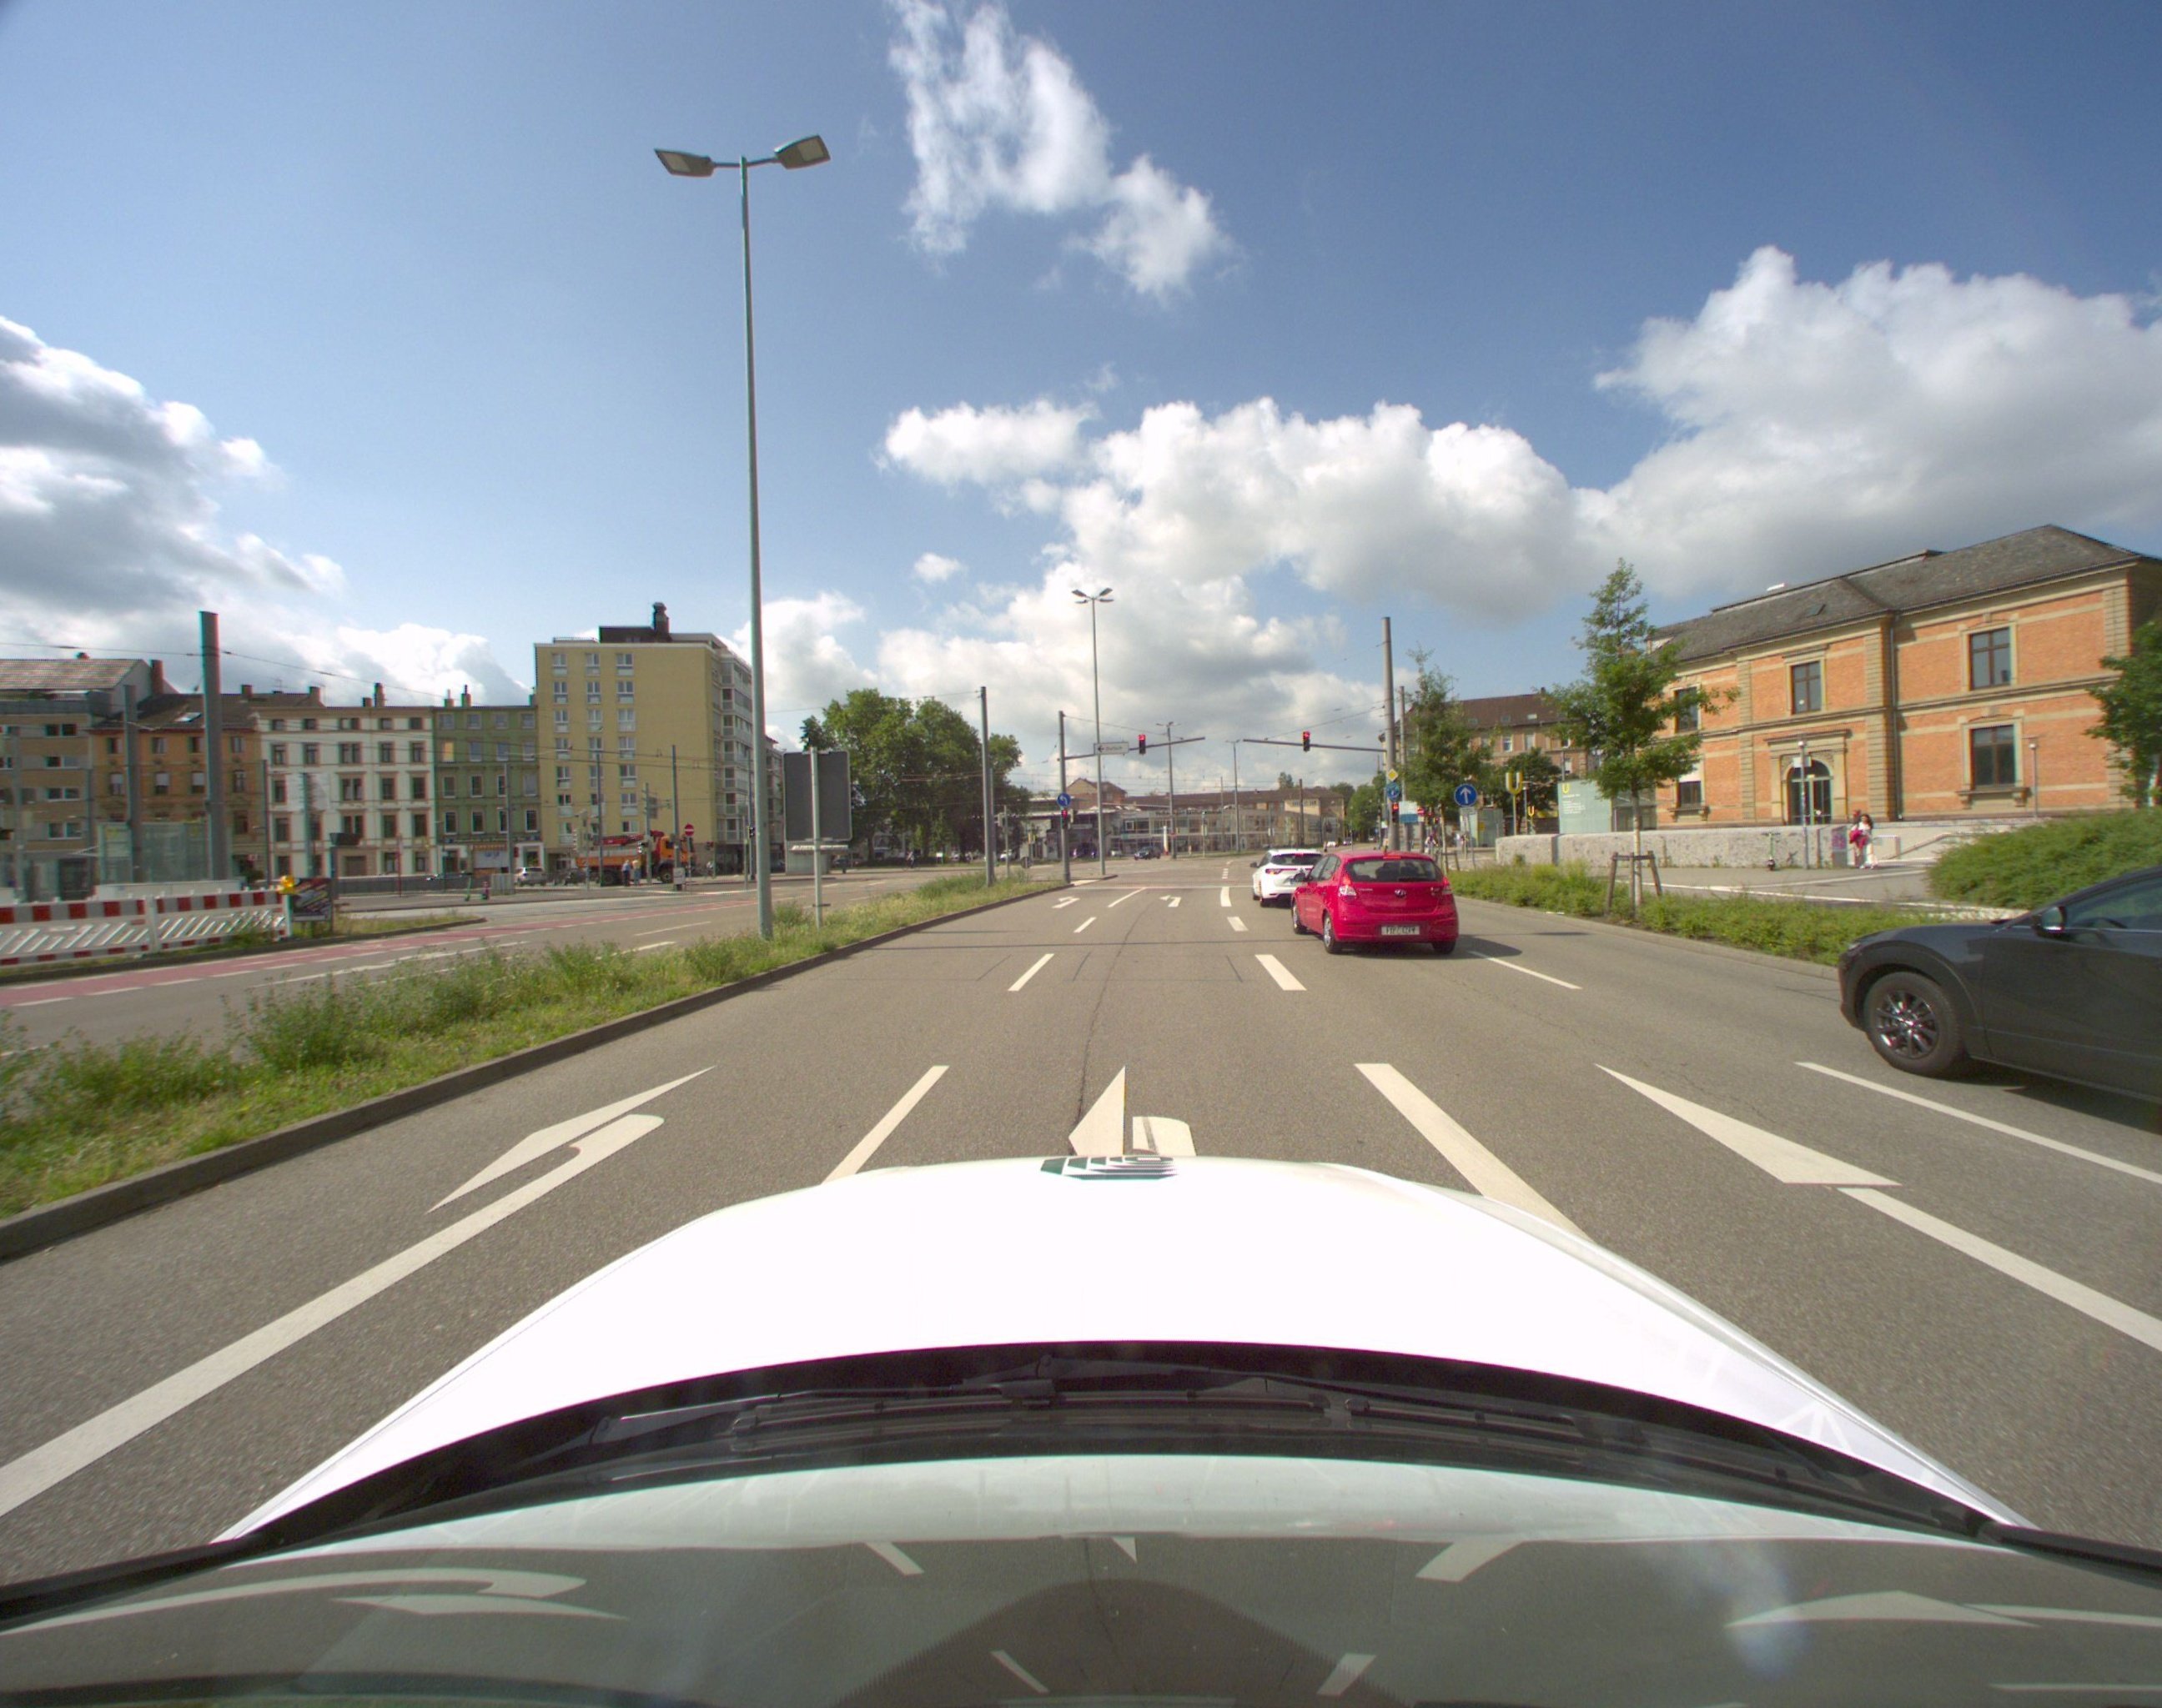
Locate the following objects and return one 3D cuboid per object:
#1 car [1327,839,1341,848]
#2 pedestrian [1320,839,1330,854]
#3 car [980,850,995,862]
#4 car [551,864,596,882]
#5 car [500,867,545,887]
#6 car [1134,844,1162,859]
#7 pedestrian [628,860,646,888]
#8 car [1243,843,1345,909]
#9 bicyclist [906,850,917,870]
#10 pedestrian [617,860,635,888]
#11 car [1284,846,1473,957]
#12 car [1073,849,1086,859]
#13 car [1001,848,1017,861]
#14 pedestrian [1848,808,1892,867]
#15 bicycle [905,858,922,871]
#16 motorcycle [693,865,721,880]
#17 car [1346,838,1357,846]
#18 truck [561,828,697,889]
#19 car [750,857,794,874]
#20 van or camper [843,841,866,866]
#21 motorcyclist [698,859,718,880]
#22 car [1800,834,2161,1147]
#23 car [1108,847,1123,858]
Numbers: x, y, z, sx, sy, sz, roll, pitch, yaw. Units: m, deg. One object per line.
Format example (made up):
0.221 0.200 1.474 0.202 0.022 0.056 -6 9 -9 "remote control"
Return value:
47.578 -1.985 152.889 1.975 1.442 4.023 -2 0 25 "car"
25.193 -0.761 84.110 0.678 1.535 0.667 -2 0 -32 "pedestrian"
-15.233 0.340 132.411 1.791 1.769 4.002 -2 0 2 "car"
-42.835 1.619 68.691 3.953 1.436 1.883 -2 0 37 "car"
-46.642 1.933 68.021 3.629 1.500 1.708 -2 0 31 "car"
7.544 -0.282 91.453 1.976 1.530 4.021 -2 0 21 "car"
-30.084 1.367 55.210 0.647 1.868 0.783 -2 0 8 "pedestrian"
5.425 0.499 21.268 1.839 1.472 4.341 -2 0 5 "car"
-16.011 0.584 76.959 0.886 1.871 0.760 -2 0 -13 "bicyclist"
-30.866 1.379 55.254 0.695 1.860 0.821 -2 0 7 "pedestrian"
4.448 0.616 12.834 1.807 1.439 4.073 -1 0 5 "car"
-0.199 -0.039 129.268 1.987 1.552 4.079 -2 0 1 "car"
-11.690 0.099 131.981 1.986 2.013 4.002 -2 0 2 "car"
23.304 -0.486 24.046 0.885 1.686 0.757 -2 0 -36 "pedestrian"
-15.831 0.978 77.011 1.467 1.117 0.584 -2 0 -15 "bicycle"
-31.677 1.578 69.043 0.776 1.115 2.443 -2 0 12 "motorcycle"
57.560 -2.484 173.440 1.976 1.574 4.022 -2 0 22 "car"
-31.738 0.281 57.454 7.925 3.856 2.190 -2 0 -14 "truck"
-32.328 1.176 85.171 3.991 1.662 1.991 -2 0 -13 "car"
-27.835 -0.065 100.386 2.586 2.908 6.068 -2 0 -15 "van or camper"
-31.664 1.304 69.139 0.881 1.781 1.246 -2 0 12 "motorcyclist"
6.100 0.642 3.954 1.797 1.508 4.212 -1 0 6 "car"
5.463 -0.271 129.783 1.989 1.596 3.995 -2 0 -4 "car"
